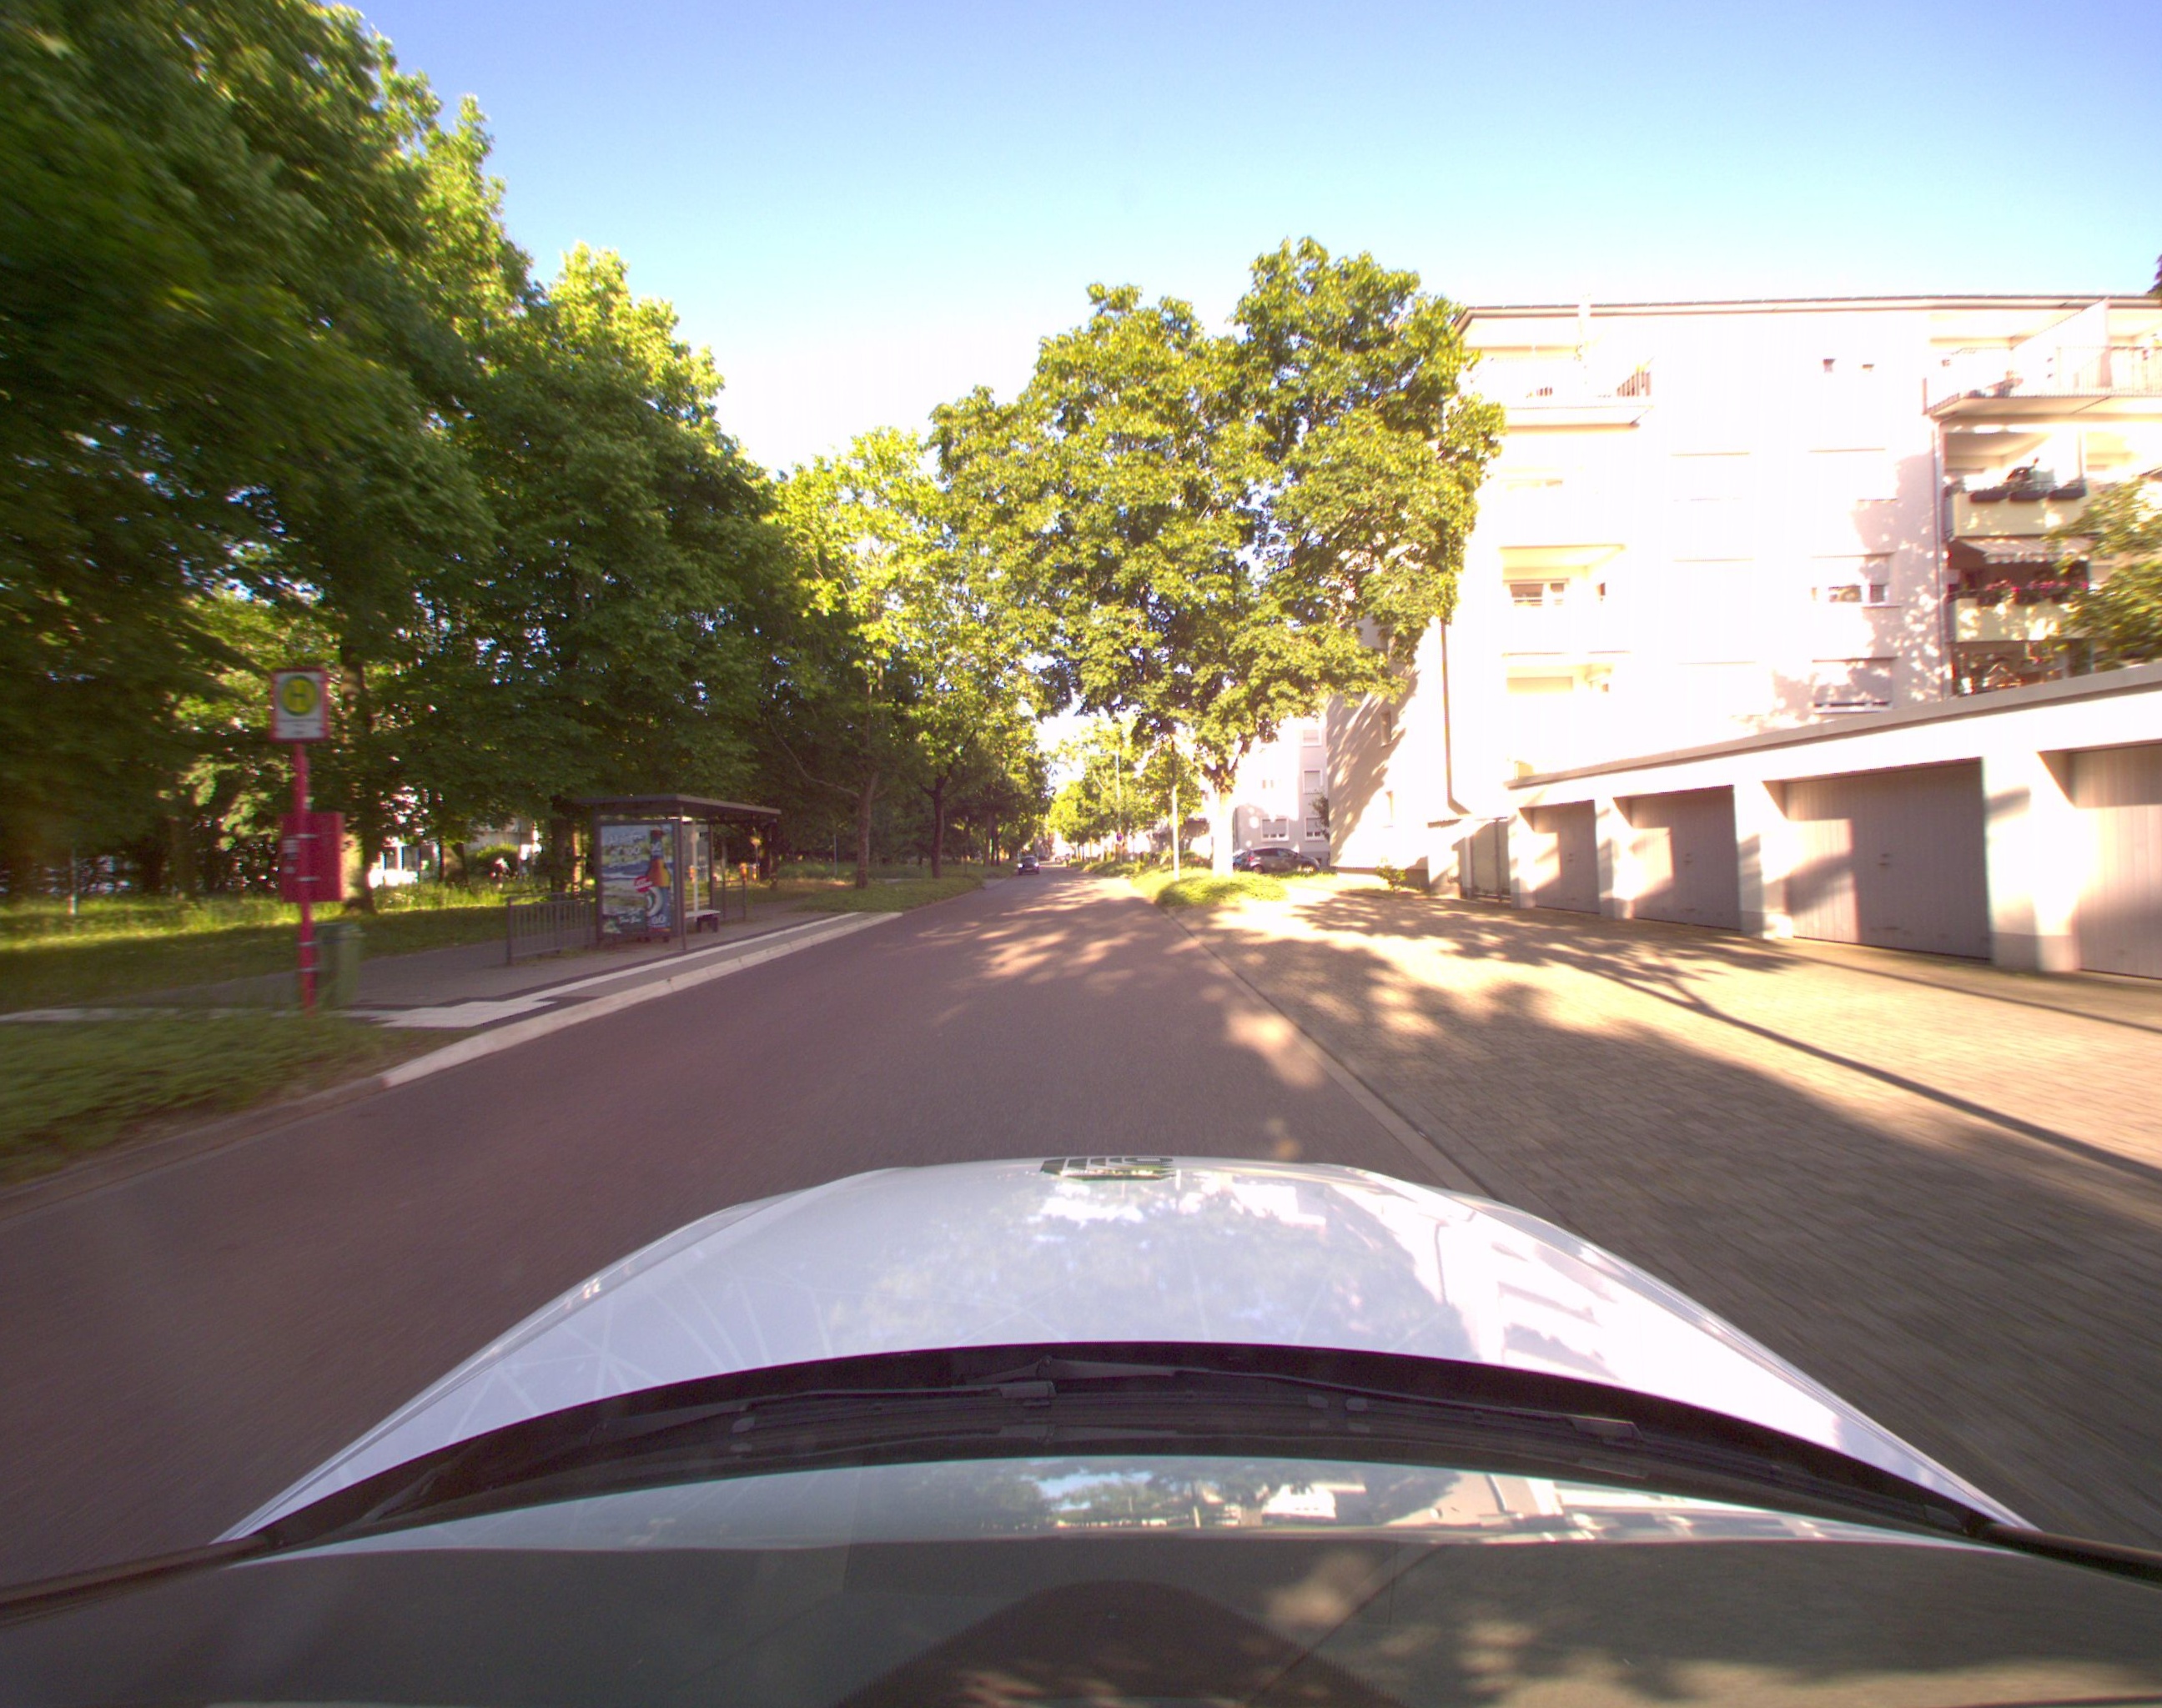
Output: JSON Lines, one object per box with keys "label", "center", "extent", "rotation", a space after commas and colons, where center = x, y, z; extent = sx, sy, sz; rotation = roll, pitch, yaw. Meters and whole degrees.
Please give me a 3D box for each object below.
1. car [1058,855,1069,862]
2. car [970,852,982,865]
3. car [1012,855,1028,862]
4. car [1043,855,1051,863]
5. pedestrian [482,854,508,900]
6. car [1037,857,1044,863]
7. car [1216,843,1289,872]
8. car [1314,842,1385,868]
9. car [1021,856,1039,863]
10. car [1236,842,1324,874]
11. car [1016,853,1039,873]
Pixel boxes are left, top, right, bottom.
{"label": "car", "center": [-3.993, 0.997, 182.988], "extent": [1.812, 1.501, 3.985], "rotation": [-2, 0, -11]}
{"label": "car", "center": [-20.483, 0.834, 158.315], "extent": [1.995, 2.508, 3.983], "rotation": [-1, -1, -12]}
{"label": "car", "center": [-14.458, 1.030, 192.748], "extent": [3.589, 1.510, 1.494], "rotation": [0, 0, -12]}
{"label": "car", "center": [-8.938, 1.315, 211.460], "extent": [1.809, 1.925, 3.990], "rotation": [0, 0, -7]}
{"label": "pedestrian", "center": [-26.191, 1.013, 36.394], "extent": [0.755, 2.014, 0.589], "rotation": [-1, -1, -5]}
{"label": "car", "center": [-11.249, 1.657, 225.856], "extent": [1.809, 1.501, 3.990], "rotation": [0, 0, -7]}
{"label": "car", "center": [10.420, 0.194, 49.522], "extent": [3.979, 1.581, 1.807], "rotation": [-2, 1, -4]}
{"label": "car", "center": [16.598, 0.069, 50.473], "extent": [3.814, 1.498, 1.647], "rotation": [-1, 0, -2]}
{"label": "car", "center": [-11.297, 1.237, 180.427], "extent": [3.989, 1.501, 1.810], "rotation": [0, 0, -12]}
{"label": "car", "center": [10.188, 0.227, 41.837], "extent": [4.031, 1.514, 1.725], "rotation": [-1, -2, -3]}
{"label": "car", "center": [-4.730, 0.798, 72.089], "extent": [1.840, 1.578, 4.331], "rotation": [-3, 0, -3]}
